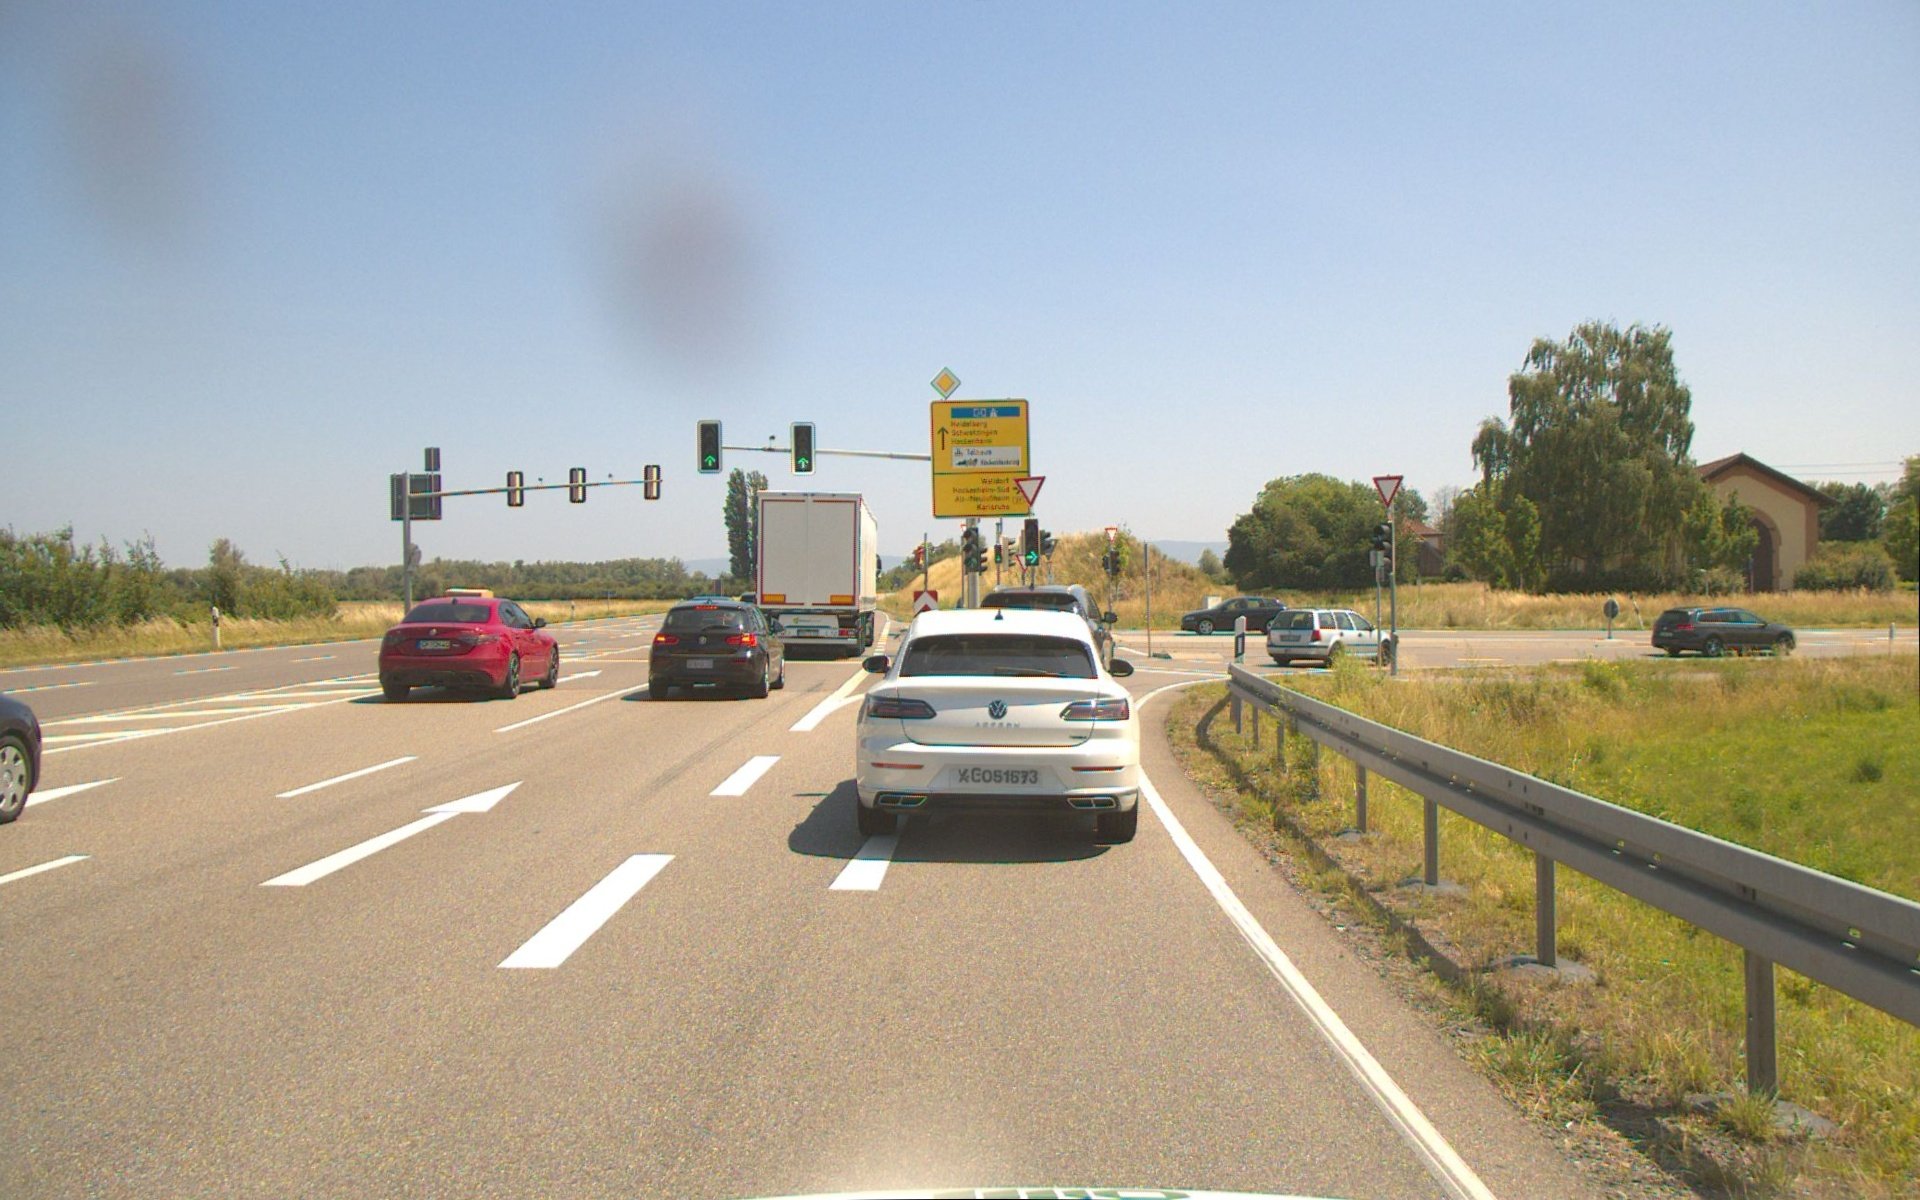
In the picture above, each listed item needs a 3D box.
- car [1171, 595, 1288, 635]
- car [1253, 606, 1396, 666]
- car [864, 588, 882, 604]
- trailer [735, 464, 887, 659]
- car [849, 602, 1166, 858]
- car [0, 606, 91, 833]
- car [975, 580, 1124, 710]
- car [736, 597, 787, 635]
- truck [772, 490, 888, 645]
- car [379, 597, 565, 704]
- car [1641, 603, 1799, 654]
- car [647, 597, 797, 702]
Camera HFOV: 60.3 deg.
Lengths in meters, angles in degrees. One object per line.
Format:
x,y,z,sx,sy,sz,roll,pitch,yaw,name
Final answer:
10.235,0.567,63.005,4.171,1.392,1.777,-1,1,2,car
9.307,0.884,42.039,1.774,1.454,4.066,0,-1,43,car
-10.356,-0.440,196.717,1.941,1.902,4.463,0,0,-4,car
-3.841,-0.925,45.948,3.312,4.622,12.867,1,0,-1,trailer
0.248,0.758,11.779,1.810,1.458,4.607,0,0,-1,car
-6.878,0.748,9.369,1.641,1.436,4.465,0,0,-2,car
1.316,0.590,23.419,1.894,1.645,4.380,0,0,4,car
-8.232,0.659,68.821,1.773,1.519,4.019,1,0,-3,car
-4.035,-0.966,52.819,3.313,4.622,6.370,1,0,-2,truck
-7.290,0.696,25.161,1.714,1.446,4.563,1,0,-4,car
23.199,0.862,50.514,4.330,1.502,1.797,0,-1,-17,car
-3.621,0.709,25.842,1.748,1.456,4.380,1,0,-1,car
